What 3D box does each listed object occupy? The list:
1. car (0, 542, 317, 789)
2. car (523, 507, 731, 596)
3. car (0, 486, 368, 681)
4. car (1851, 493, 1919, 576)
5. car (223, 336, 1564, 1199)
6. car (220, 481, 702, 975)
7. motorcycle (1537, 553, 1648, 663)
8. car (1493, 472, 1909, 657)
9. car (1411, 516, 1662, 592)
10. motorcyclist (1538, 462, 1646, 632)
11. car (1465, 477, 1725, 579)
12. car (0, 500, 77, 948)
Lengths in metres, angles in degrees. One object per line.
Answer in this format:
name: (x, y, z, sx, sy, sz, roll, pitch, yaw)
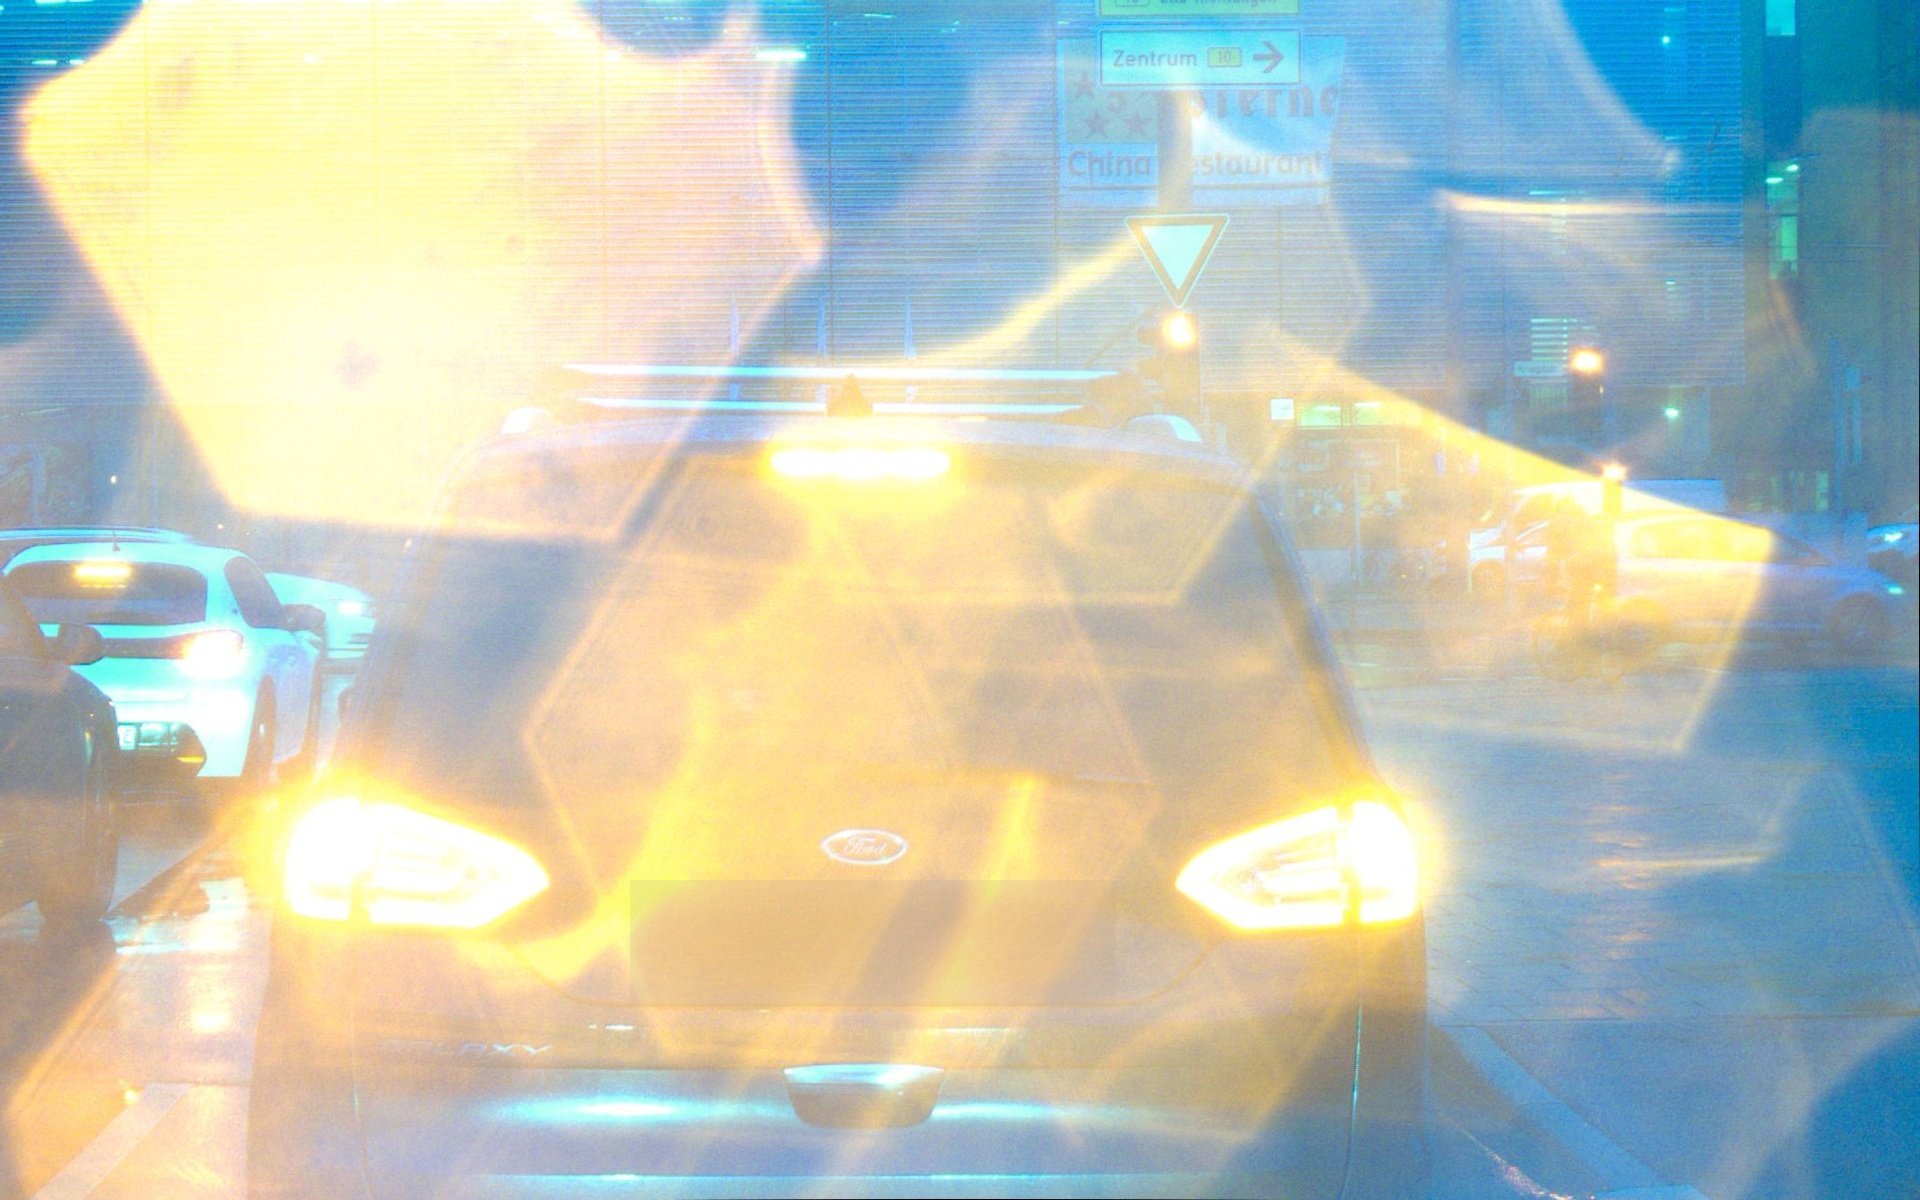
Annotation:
car: (-4.535, 0.298, 19.551, 1.540, 1.247, 4.069, 0, 1, -8)
car: (-6.560, -0.966, 67.796, 3.986, 1.612, 1.738, 2, 1, -5)
car: (-8.299, -0.165, 34.334, 4.667, 1.844, 1.832, -1, 0, -10)
car: (19.813, -1.295, 66.937, 4.418, 1.589, 1.800, -1, 1, -7)
car: (-0.195, 0.498, 6.660, 1.735, 1.732, 4.247, 2, 1, -3)
car: (-1.872, 0.417, 13.671, 1.636, 1.691, 3.671, 0, 1, -5)
motorcycle: (5.812, 0.064, 31.654, 0.853, 0.968, 1.581, 0, 1, 5)
car: (8.132, -0.425, 37.889, 3.986, 1.868, 2.001, -2, 2, -11)
car: (11.080, -0.893, 66.208, 4.418, 1.385, 1.800, -1, 1, -7)
motorcyclist: (5.812, -0.491, 31.660, 0.868, 1.529, 1.108, 0, 1, 5)
car: (12.831, -1.463, 69.612, 4.838, 1.993, 1.800, -1, 1, -7)
car: (-4.203, 0.451, 11.471, 1.752, 1.568, 4.001, -1, 1, -4)
